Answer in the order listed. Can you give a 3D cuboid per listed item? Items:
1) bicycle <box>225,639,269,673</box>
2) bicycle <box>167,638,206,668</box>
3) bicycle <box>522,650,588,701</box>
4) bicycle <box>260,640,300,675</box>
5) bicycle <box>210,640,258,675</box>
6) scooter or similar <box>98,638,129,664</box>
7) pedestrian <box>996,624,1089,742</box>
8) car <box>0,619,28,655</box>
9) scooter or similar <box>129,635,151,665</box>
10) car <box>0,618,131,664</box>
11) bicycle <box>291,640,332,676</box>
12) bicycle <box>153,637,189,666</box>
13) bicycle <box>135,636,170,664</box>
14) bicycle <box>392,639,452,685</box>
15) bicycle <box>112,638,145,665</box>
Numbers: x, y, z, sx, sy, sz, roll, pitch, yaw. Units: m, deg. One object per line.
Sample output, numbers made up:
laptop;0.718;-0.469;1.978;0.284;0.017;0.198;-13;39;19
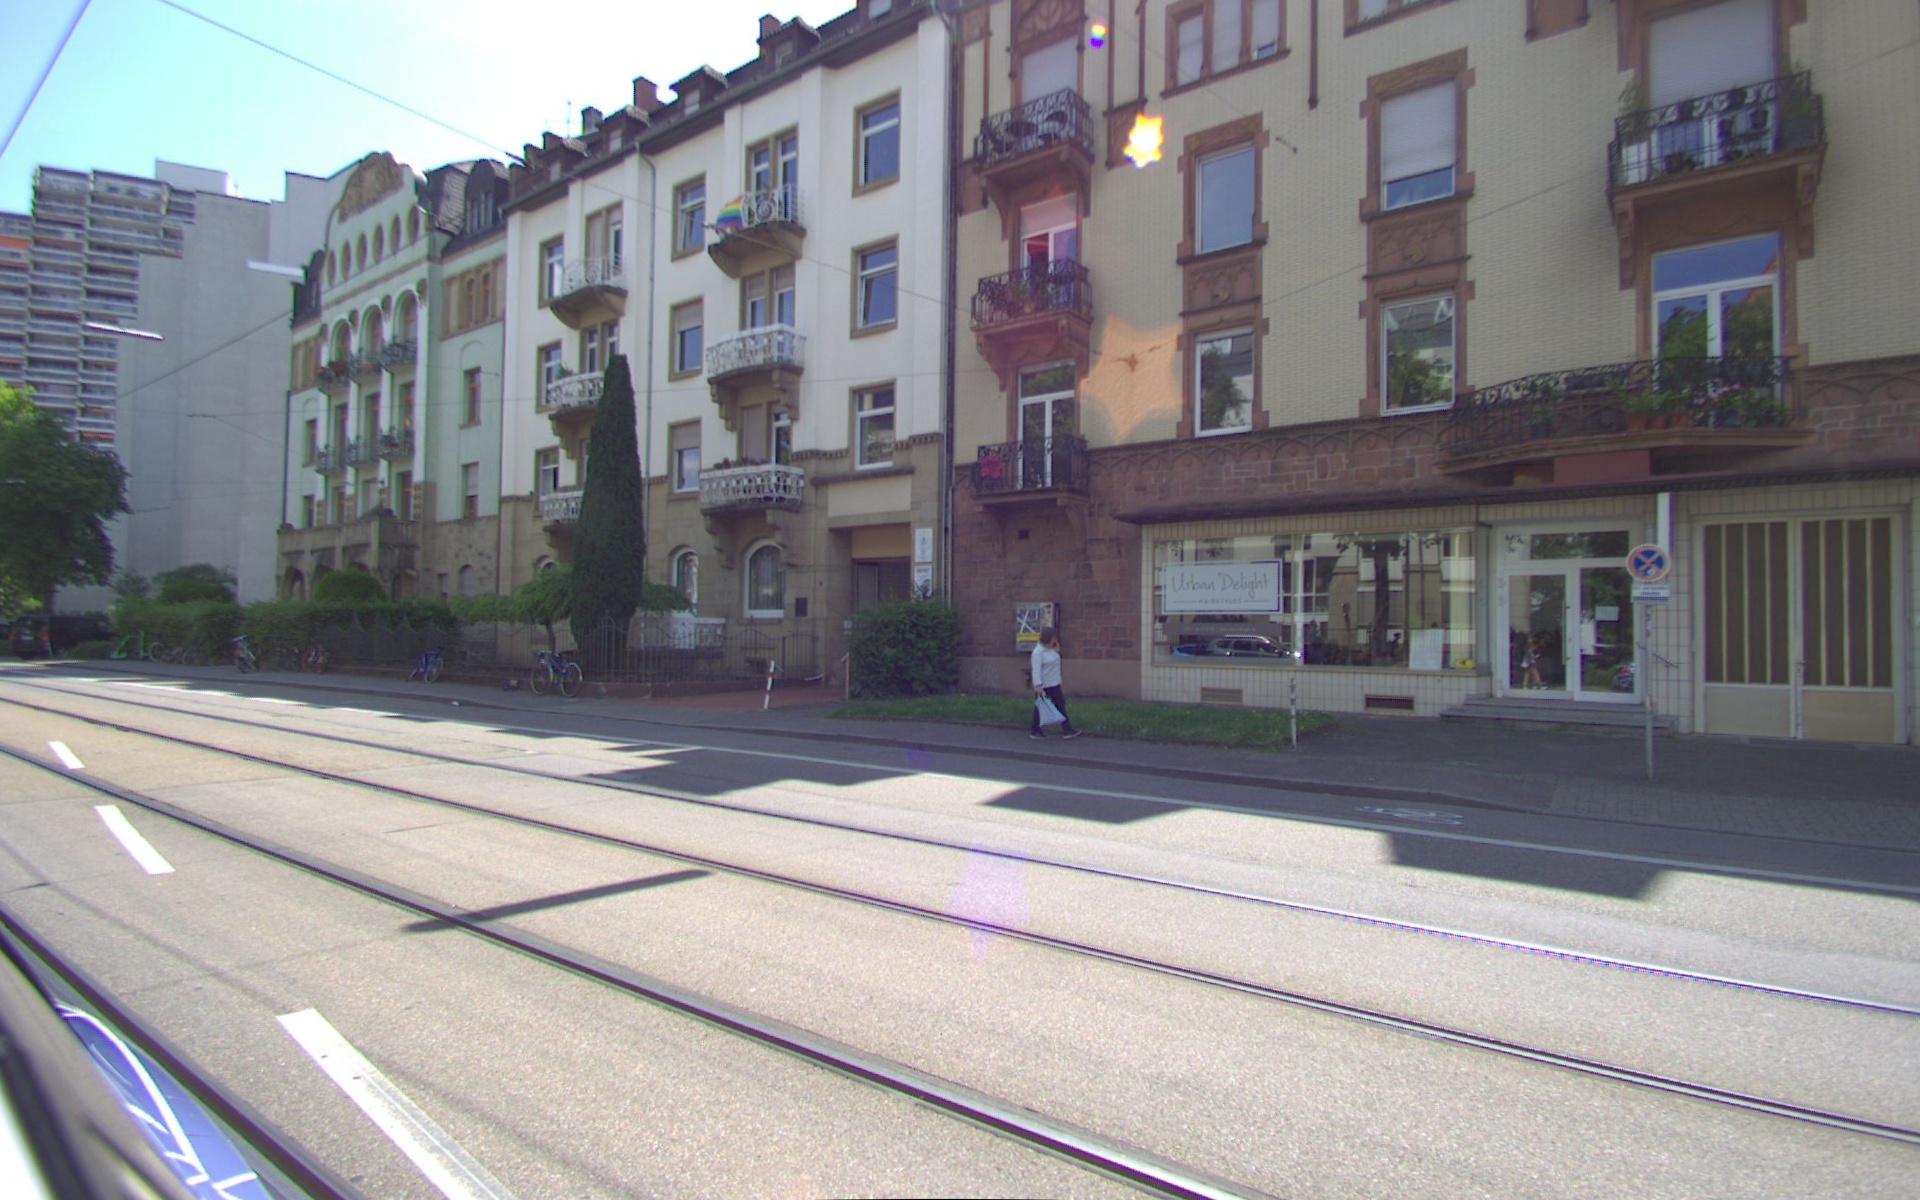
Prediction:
bicycle;-22.768;1.769;32.316;1.768;1.040;0.602;-2;1;37
bicycle;-27.199;1.843;35.581;1.768;0.983;0.602;-2;1;37
bicycle;-8.578;1.574;21.423;1.838;0.968;0.406;0;1;38
bicycle;-20.271;1.699;30.170;1.705;1.007;0.460;-1;0;38
bicycle;-21.453;1.685;29.947;0.599;1.007;1.780;1;-3;-17
scooter or similar;-34.313;2.057;41.020;1.215;1.028;0.404;0;-3;22
pedestrian;1.159;1.127;14.087;0.981;1.554;0.893;-1;-3;34
car;-55.977;2.109;57.925;1.578;2.058;4.055;1;-3;-3
scooter or similar;-31.539;1.920;38.917;1.289;1.129;0.402;-1;-3;39
car;-40.422;1.859;45.839;1.935;1.940;4.586;1;-2;0
bicycle;-18.711;1.670;29.185;1.723;0.973;0.409;-1;0;38
bicycle;-28.697;1.847;36.798;1.705;0.997;0.602;-2;1;37
bicycle;-30.242;1.869;37.917;1.705;0.997;0.602;-2;1;37
bicycle;-13.330;1.519;25.076;1.768;1.073;0.602;-2;1;37
bicycle;-32.957;2.022;40.087;1.705;0.997;0.602;-2;1;37
